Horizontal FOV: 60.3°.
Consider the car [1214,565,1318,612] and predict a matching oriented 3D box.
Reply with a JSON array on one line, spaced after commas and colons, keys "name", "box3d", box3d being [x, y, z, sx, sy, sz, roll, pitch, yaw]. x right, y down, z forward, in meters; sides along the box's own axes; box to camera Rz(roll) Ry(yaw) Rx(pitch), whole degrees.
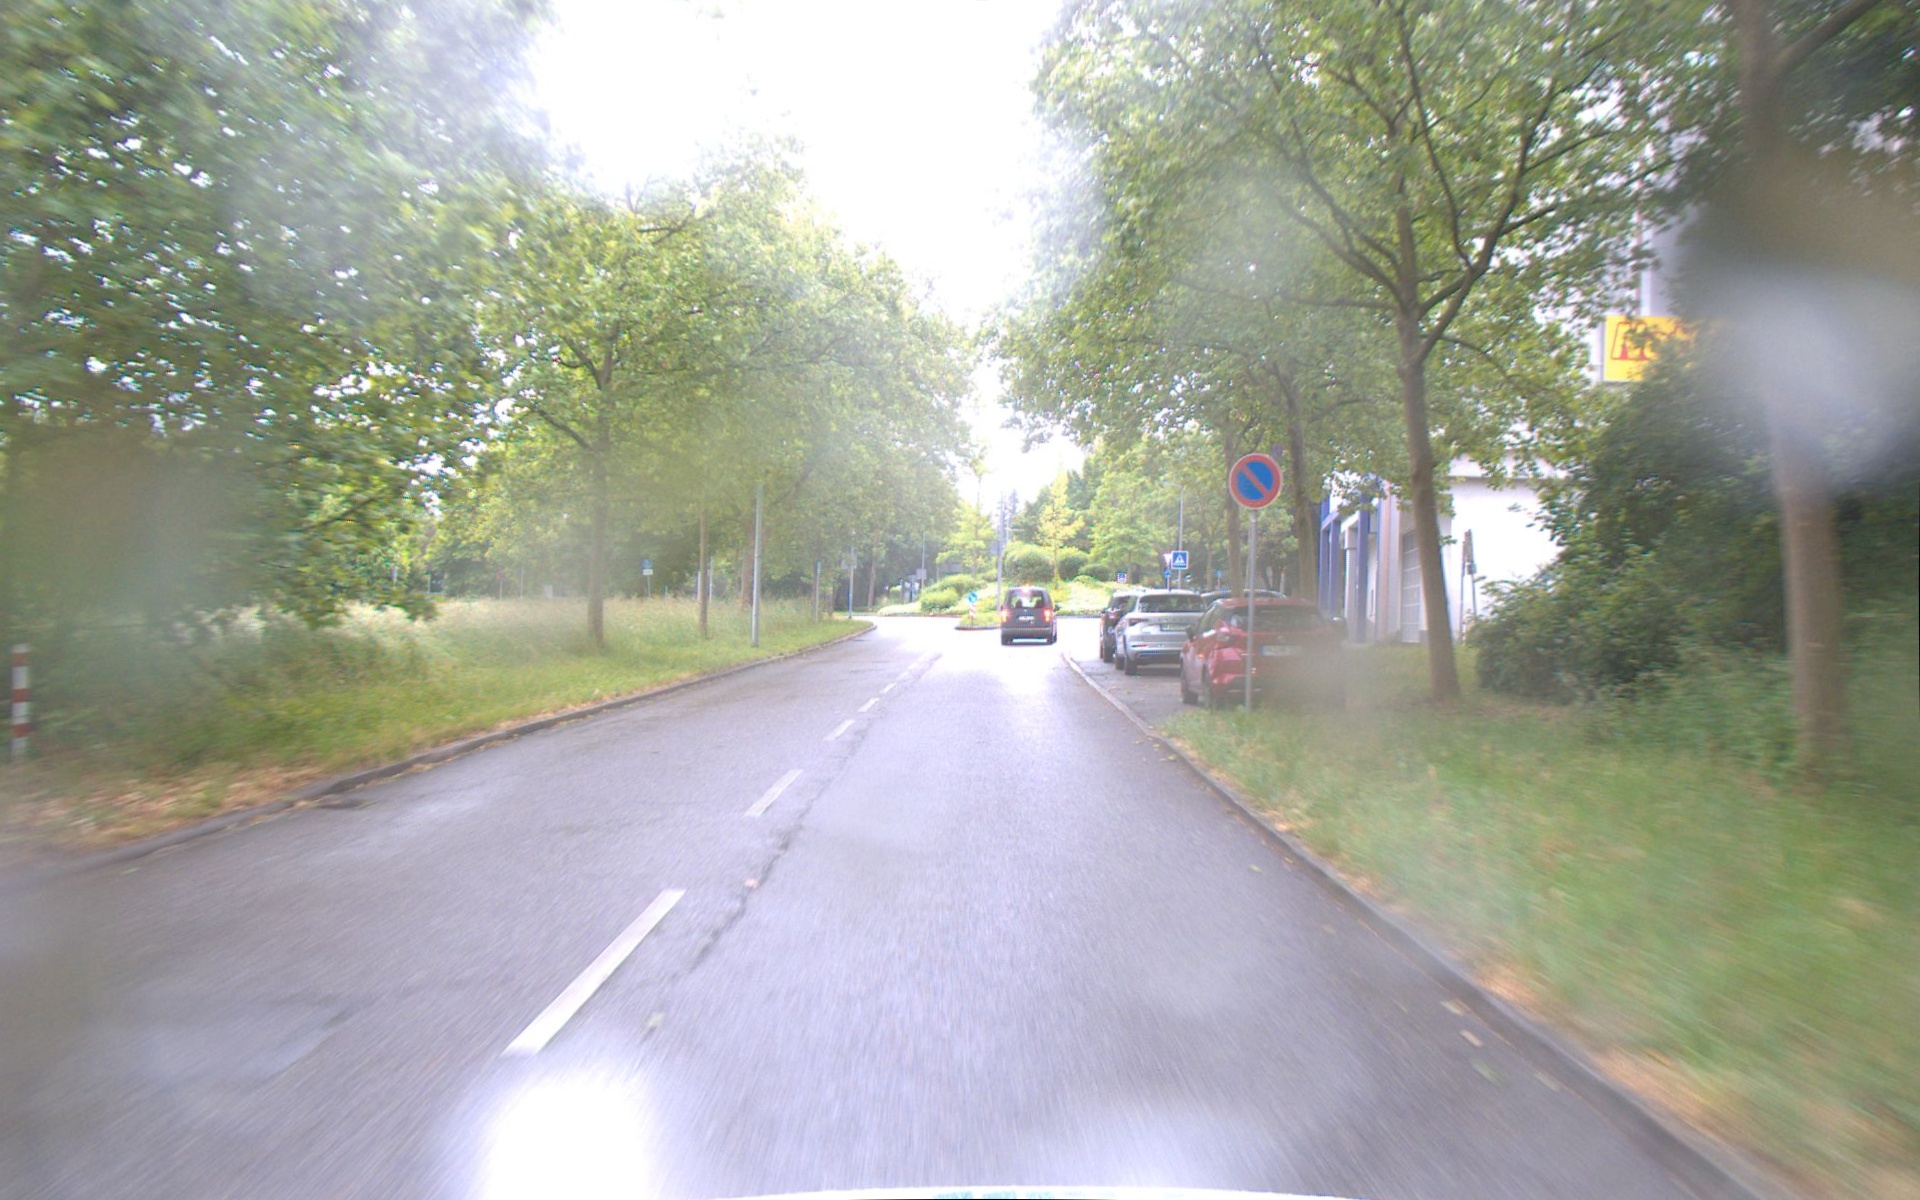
[{"name": "car", "box3d": [13.230, -0.500, 71.621, 4.284, 1.789, 1.831, 3, 2, 8]}]

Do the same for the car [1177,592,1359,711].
[{"name": "car", "box3d": [3.888, 0.611, 21.450, 1.760, 1.396, 3.745, 0, 0, 2]}]

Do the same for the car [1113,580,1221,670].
[{"name": "car", "box3d": [4.025, 0.467, 32.660, 1.692, 1.619, 4.254, -1, 0, 2]}]

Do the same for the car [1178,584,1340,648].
[{"name": "car", "box3d": [8.545, 0.429, 47.527, 4.377, 1.709, 1.768, 1, 1, 3]}]

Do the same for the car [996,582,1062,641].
[{"name": "car", "box3d": [2.340, 0.348, 55.157, 1.877, 1.832, 3.793, -2, 0, 7]}]

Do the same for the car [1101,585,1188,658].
[{"name": "car", "box3d": [4.287, 0.482, 38.992, 1.764, 1.630, 4.372, 0, 0, 3]}]
